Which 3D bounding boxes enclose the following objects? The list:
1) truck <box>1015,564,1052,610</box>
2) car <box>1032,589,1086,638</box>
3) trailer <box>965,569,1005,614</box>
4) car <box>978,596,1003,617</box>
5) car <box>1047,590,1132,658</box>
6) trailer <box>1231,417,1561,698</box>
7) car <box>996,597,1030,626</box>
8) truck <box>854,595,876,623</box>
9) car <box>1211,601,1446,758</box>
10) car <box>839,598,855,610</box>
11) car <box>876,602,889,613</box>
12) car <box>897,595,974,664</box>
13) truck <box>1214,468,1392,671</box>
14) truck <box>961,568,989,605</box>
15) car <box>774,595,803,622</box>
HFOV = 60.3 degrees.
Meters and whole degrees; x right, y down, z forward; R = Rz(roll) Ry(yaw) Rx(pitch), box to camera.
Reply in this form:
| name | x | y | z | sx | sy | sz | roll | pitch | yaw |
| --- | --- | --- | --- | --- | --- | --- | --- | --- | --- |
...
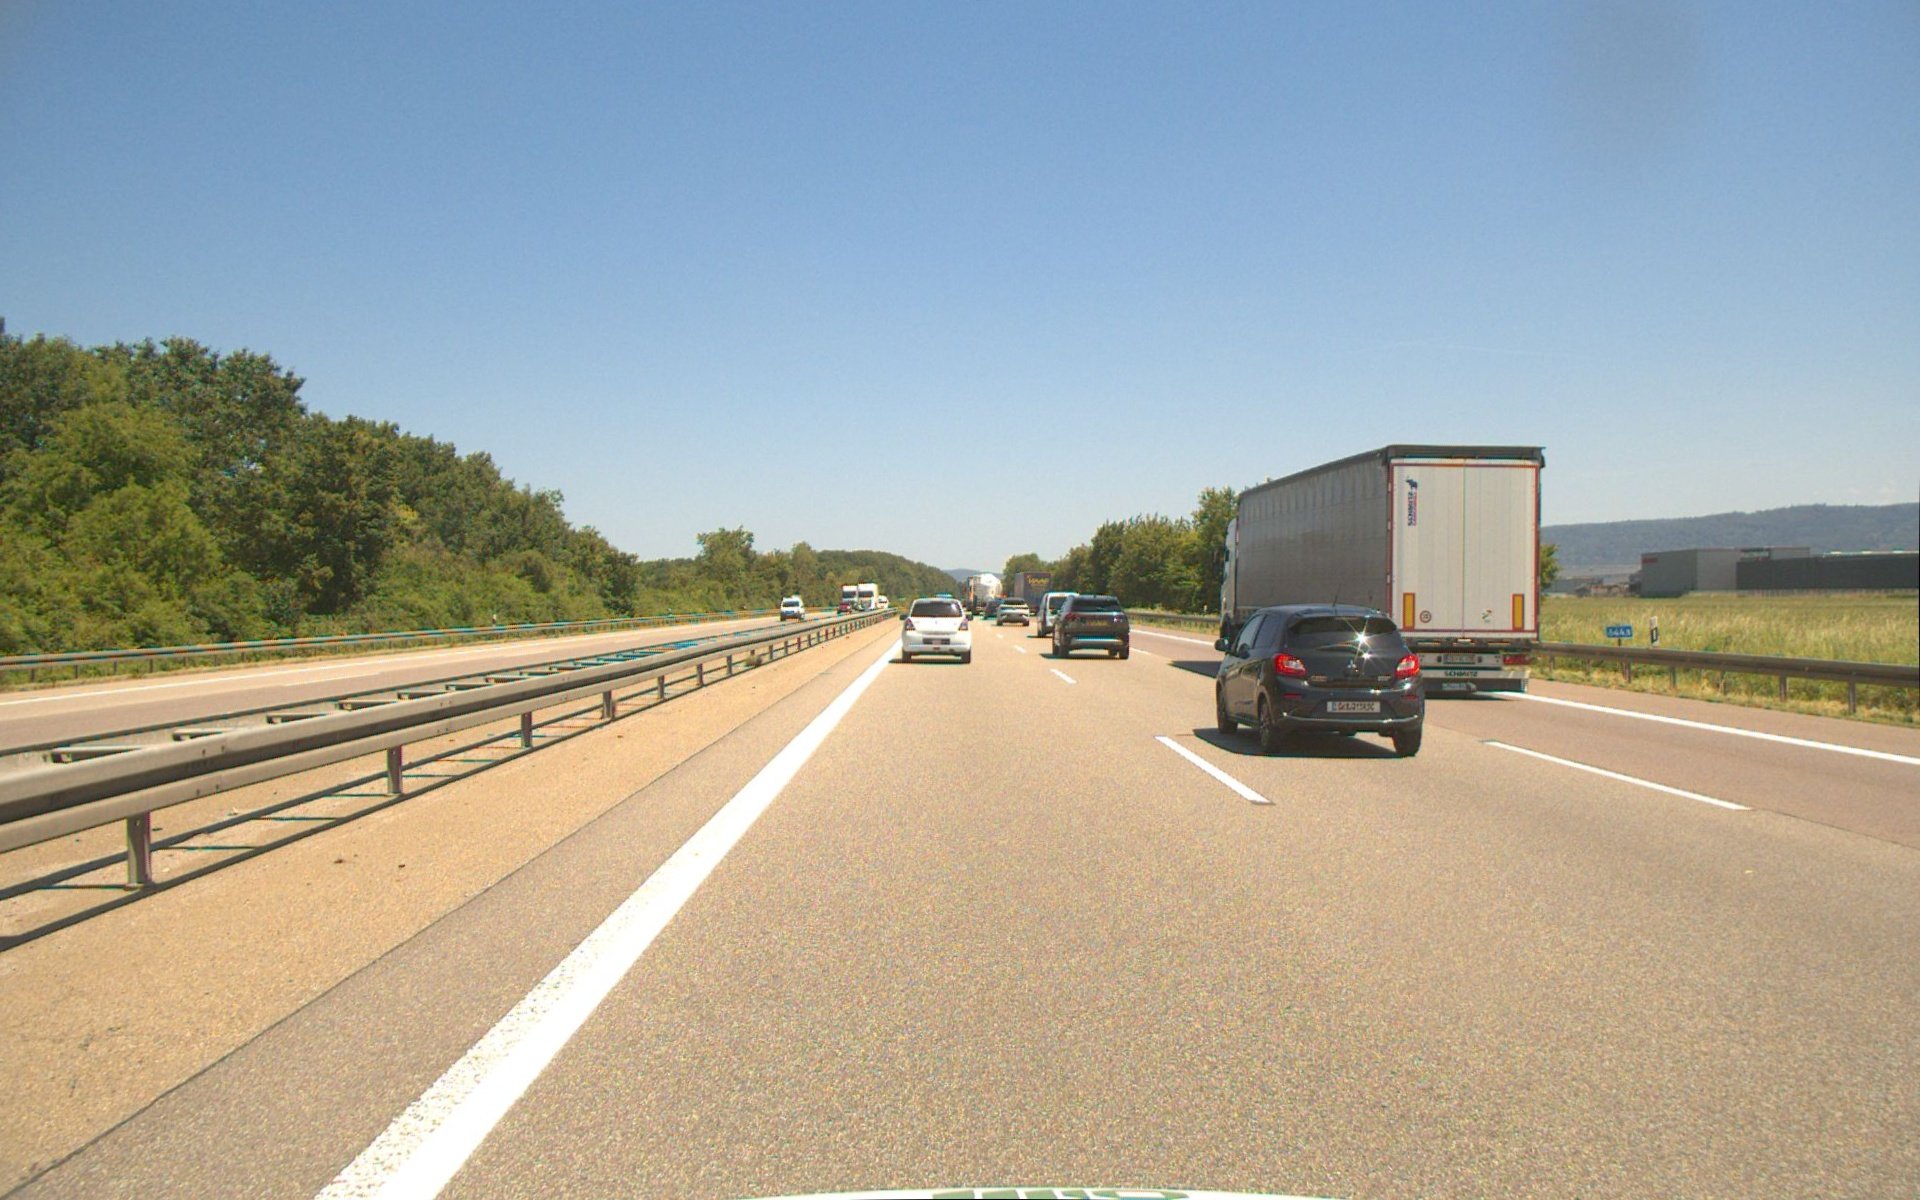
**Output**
| name | x | y | z | sx | sy | sz | roll | pitch | yaw |
| --- | --- | --- | --- | --- | --- | --- | --- | --- | --- |
| truck | 7.012 | -1.172 | 160.336 | 3.045 | 4.211 | 15.511 | 1 | 0 | 1 |
| car | 4.046 | 0.539 | 68.222 | 1.815 | 1.895 | 4.700 | 1 | 0 | -1 |
| trailer | 2.365 | -0.768 | 160.141 | 2.854 | 4.140 | 12.409 | 1 | 0 | -4 |
| car | 2.295 | 0.466 | 124.619 | 1.812 | 1.549 | 3.956 | 1 | 0 | 0 |
| car | 3.470 | 0.630 | 45.003 | 1.829 | 1.704 | 4.745 | 1 | 0 | -1 |
| trailer | 8.062 | -0.649 | 33.237 | 2.752 | 4.380 | 14.252 | 1 | 0 | 0 |
| car | 3.088 | 0.659 | 96.769 | 1.765 | 1.631 | 4.380 | 1 | 0 | 0 |
| truck | -14.497 | 1.416 | 252.867 | 2.684 | 4.156 | 6.217 | -2 | 0 | 1 |
| car | 3.842 | 0.776 | 17.774 | 1.653 | 1.499 | 3.431 | 1 | 0 | -2 |
| car | -13.993 | 0.459 | 205.257 | 1.737 | 1.442 | 4.109 | -2 | 0 | -1 |
| car | -10.577 | 1.077 | 225.557 | 1.684 | 1.447 | 3.896 | -2 | 0 | -1 |
| car | -0.596 | 0.685 | 40.265 | 1.762 | 1.579 | 3.609 | 1 | 0 | -1 |
| truck | 8.033 | -0.652 | 39.653 | 2.752 | 4.380 | 7.193 | 1 | 0 | 0 |
| truck | 1.825 | -1.554 | 201.738 | 3.325 | 4.287 | 12.083 | 1 | 0 | 1 |
| car | -13.961 | 0.666 | 134.754 | 1.752 | 2.049 | 4.380 | -3 | 0 | 0 |
